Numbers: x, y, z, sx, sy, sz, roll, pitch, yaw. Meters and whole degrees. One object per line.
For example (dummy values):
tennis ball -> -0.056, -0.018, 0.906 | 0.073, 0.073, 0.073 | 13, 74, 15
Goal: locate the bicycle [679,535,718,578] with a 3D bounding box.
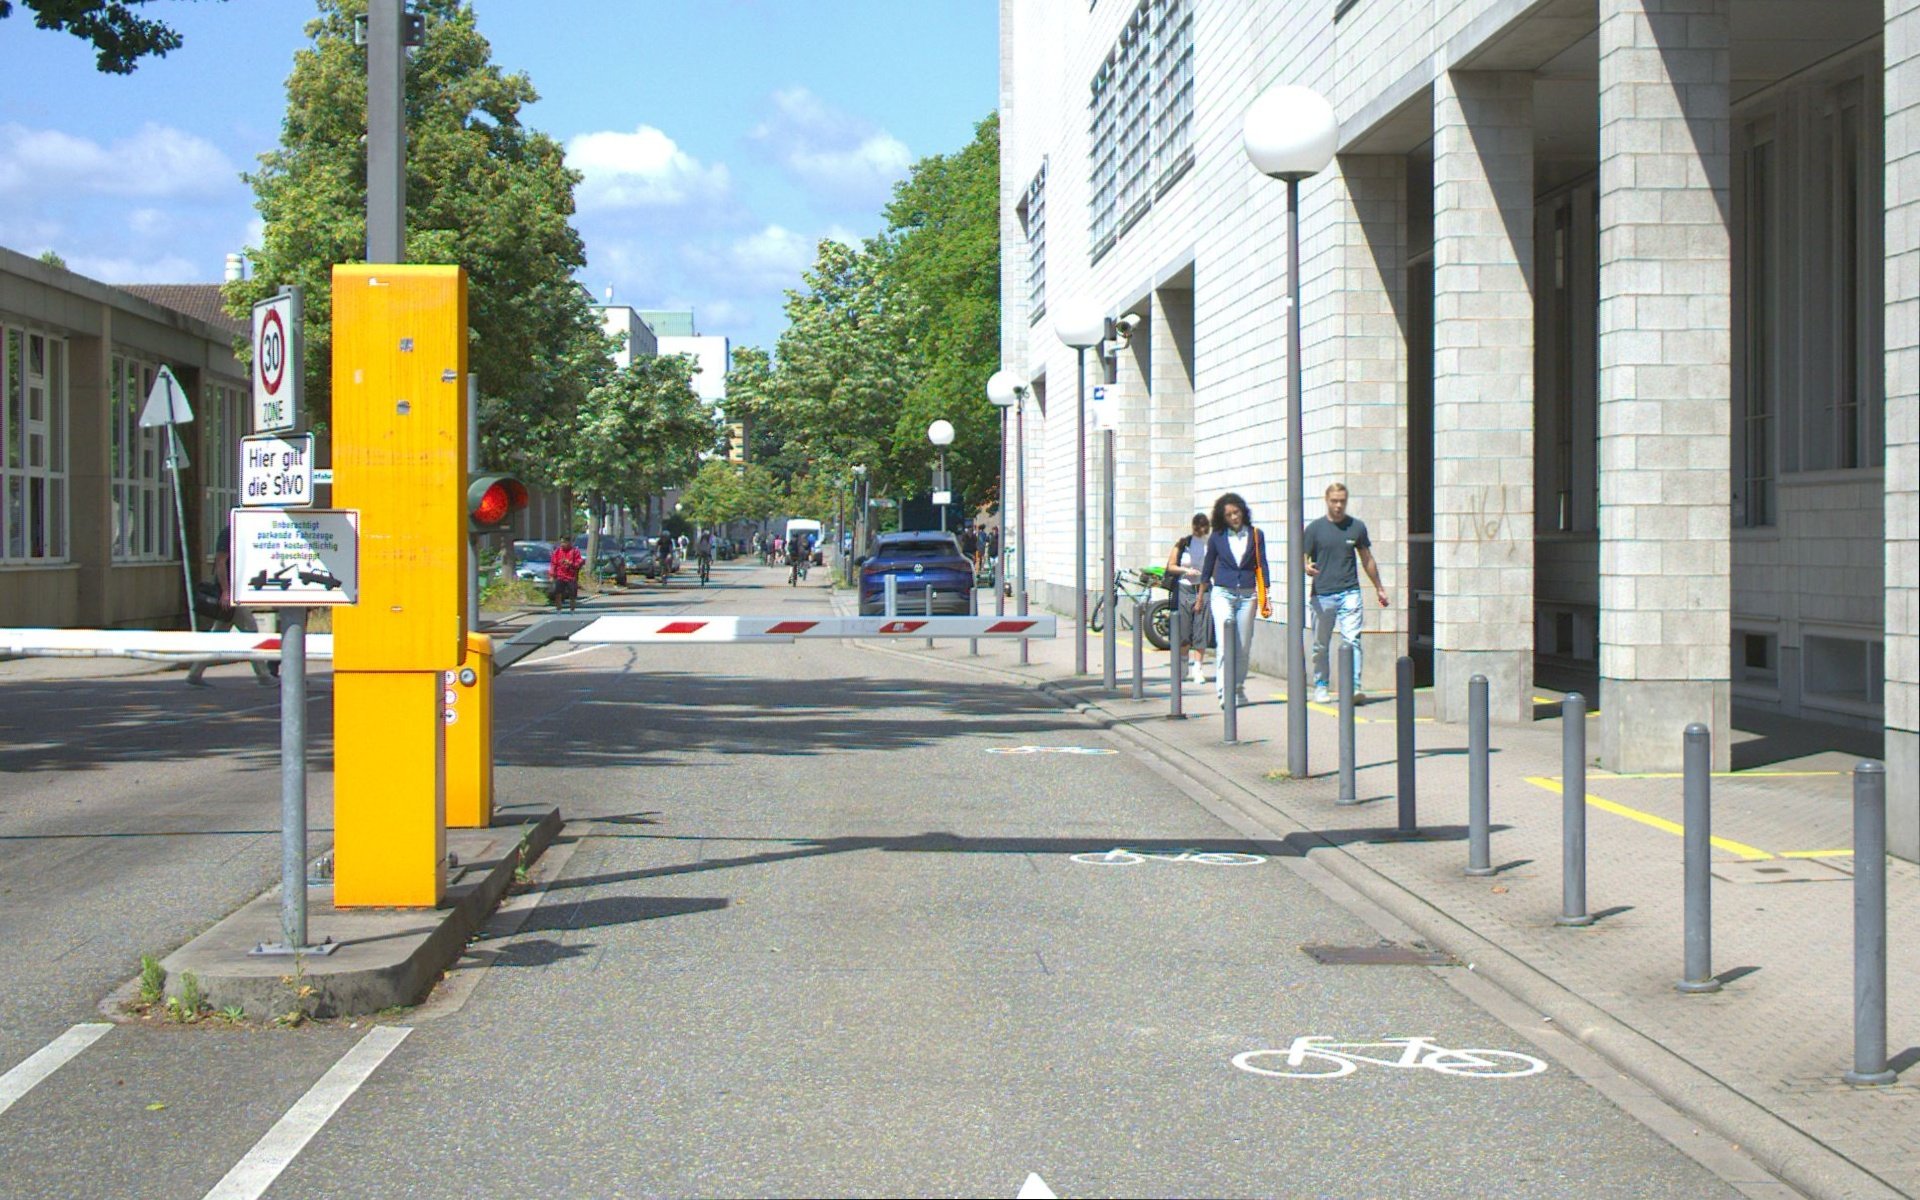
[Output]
bicycle -> -8.492, -1.401, 111.500 | 0.987, 1.311, 2.965 | 0, -1, -10

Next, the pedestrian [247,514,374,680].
pedestrian -> -6.485, -0.028, 34.318 | 0.894, 1.627, 0.887 | 0, 0, -44

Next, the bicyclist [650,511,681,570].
bicyclist -> -9.590, -1.937, 112.053 | 0.987, 1.877, 1.036 | 0, -1, -5

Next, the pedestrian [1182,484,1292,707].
pedestrian -> 2.262, -0.049, 28.158 | 0.694, 1.774, 1.086 | -2, 2, -4

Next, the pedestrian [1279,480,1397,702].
pedestrian -> 3.093, -0.084, 28.209 | 0.767, 1.774, 0.911 | -2, 2, -4

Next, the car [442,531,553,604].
car -> -9.994, -0.722, 74.533 | 1.993, 1.540, 4.212 | 0, 1, -2

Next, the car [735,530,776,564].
car -> -11.159, -2.878, 188.227 | 1.993, 1.714, 4.000 | 0, -1, 0

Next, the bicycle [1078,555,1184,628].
bicycle -> 2.562, -0.133, 51.502 | 1.544, 1.063, 0.647 | 0, 1, 6

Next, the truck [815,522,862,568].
truck -> -5.639, -2.539, 159.055 | 1.993, 2.007, 4.000 | 0, -1, -4

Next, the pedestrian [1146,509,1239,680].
pedestrian -> 2.265, -0.066, 33.561 | 0.741, 1.627, 0.888 | -2, 2, -4

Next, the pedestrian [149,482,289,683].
pedestrian -> -7.213, -0.166, 33.486 | 1.003, 1.919, 0.887 | 0, 0, -44

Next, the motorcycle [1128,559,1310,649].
motorcycle -> 3.141, 0.055, 41.867 | 2.123, 1.019, 0.660 | -2, -1, -1

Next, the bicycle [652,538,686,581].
bicycle -> -9.456, -1.295, 111.569 | 0.987, 1.311, 2.964 | 0, -1, -7

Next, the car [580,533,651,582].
car -> -11.145, -1.400, 111.444 | 1.993, 1.540, 4.212 | 0, 1, -2

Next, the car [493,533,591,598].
car -> -10.097, -0.855, 83.326 | 1.993, 1.540, 4.212 | 0, 1, -2

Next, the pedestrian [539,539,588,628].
pedestrian -> -7.349, -0.311, 63.739 | 0.893, 1.627, 0.888 | 0, 0, -6

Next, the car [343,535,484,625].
car -> -9.712, -0.376, 61.354 | 1.993, 1.540, 4.212 | 0, 1, -2

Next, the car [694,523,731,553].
car -> -15.533, -3.892, 216.008 | 1.993, 1.714, 4.000 | 0, -1, 0

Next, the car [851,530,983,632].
car -> -0.717, -0.331, 54.432 | 1.993, 1.540, 4.212 | 0, 1, -2

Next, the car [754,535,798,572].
car -> -9.187, -2.329, 171.998 | 1.993, 1.714, 4.000 | 0, -1, 0

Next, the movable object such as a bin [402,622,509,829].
movable object such as a bin -> -2.248, 0.555, 15.331 | 0.416, 0.902, 0.353 | 0, 1, 2

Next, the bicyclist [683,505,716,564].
bicyclist -> -8.473, -2.116, 111.707 | 0.987, 1.877, 1.036 | 0, -1, -8

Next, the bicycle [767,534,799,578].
bicycle -> -5.682, -1.408, 110.320 | 0.987, 1.311, 2.964 | 0, -1, -3

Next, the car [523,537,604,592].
car -> -11.392, -1.031, 99.034 | 1.993, 1.540, 4.212 | 0, 1, -2
